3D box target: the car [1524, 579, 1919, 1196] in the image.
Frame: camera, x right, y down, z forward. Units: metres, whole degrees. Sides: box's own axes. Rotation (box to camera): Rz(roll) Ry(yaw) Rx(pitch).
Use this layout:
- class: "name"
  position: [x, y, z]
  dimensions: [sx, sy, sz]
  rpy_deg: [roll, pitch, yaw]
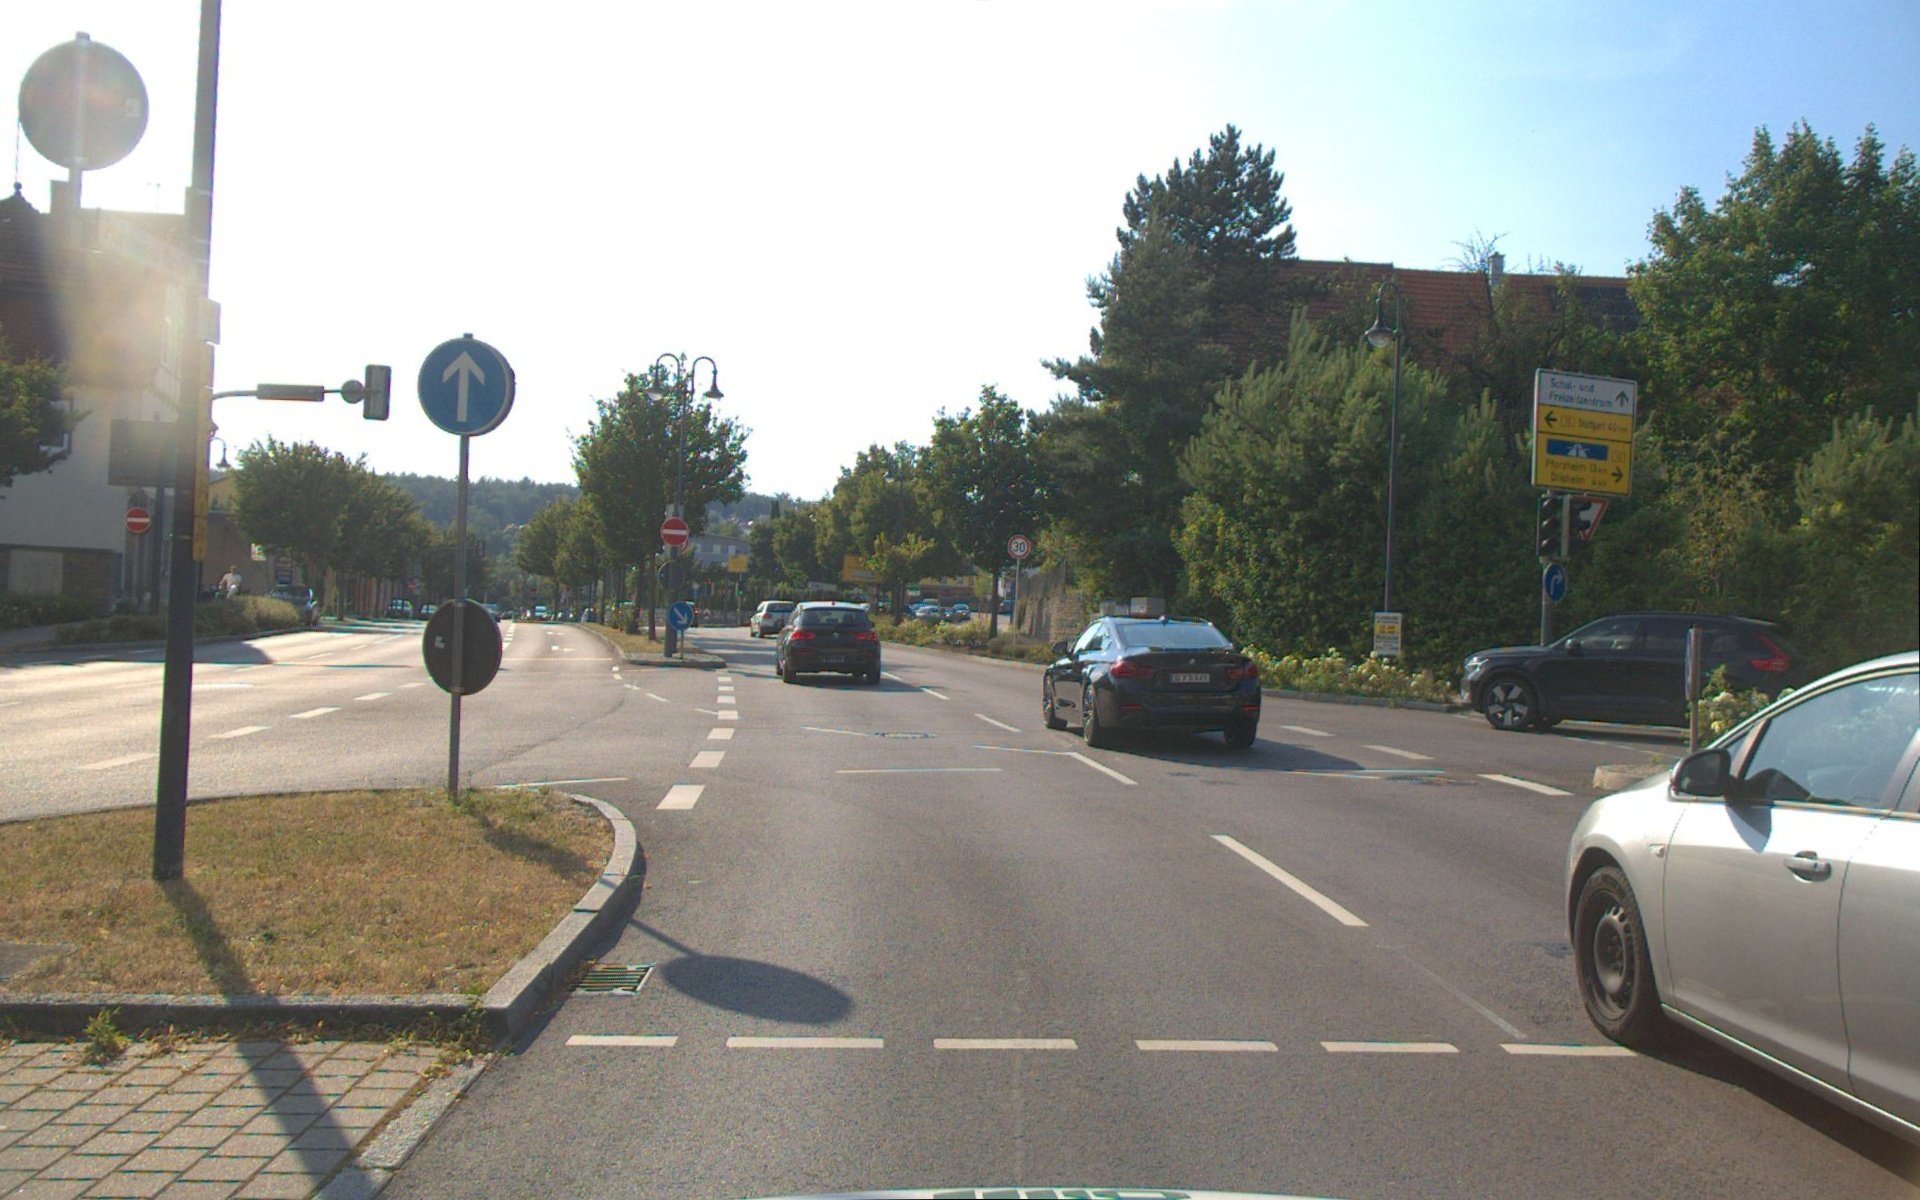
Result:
- class: "car"
  position: [3.201, 0.717, 4.604]
  dimensions: [1.686, 1.516, 4.305]
  rpy_deg: [1, 0, -1]

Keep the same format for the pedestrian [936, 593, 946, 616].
- class: "pedestrian"
  position: [-1.450, 0.317, 126.954]
  dimensions: [0.682, 1.732, 0.948]
  rpy_deg: [1, -1, -7]

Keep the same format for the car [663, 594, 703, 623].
- class: "car"
  position: [-18.413, 0.543, 109.735]
  dimensions: [2.180, 1.800, 4.436]
  rpy_deg: [1, 0, -15]

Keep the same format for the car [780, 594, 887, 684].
- class: "car"
  position: [-2.428, 0.678, 30.825]
  dimensions: [1.689, 1.516, 4.345]
  rpy_deg: [2, 0, -8]

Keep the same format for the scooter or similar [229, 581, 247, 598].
- class: "scooter or similar"
  position: [-25.686, -0.372, 58.847]
  dimensions: [0.436, 0.592, 1.039]
  rpy_deg: [1, 0, -16]

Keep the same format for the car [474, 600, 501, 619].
- class: "car"
  position: [-35.997, 0.742, 126.039]
  dimensions: [1.726, 1.385, 4.468]
  rpy_deg: [1, 0, -14]

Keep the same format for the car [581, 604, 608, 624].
- class: "car"
  position: [-33.947, 1.322, 153.613]
  dimensions: [2.180, 1.800, 4.436]
  rpy_deg: [1, 0, -15]

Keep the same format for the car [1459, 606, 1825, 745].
- class: "car"
  position: [8.986, 0.929, 21.936]
  dimensions: [4.187, 1.594, 1.785]
  rpy_deg: [1, 0, 37]

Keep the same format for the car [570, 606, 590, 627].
- class: "car"
  position: [-38.645, 1.648, 168.379]
  dimensions: [1.741, 2.049, 3.989]
  rpy_deg: [1, 0, -11]

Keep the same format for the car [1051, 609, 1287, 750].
- class: "car"
  position: [2.230, 0.823, 18.843]
  dimensions: [1.882, 1.388, 4.349]
  rpy_deg: [1, -1, -4]

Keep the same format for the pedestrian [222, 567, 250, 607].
- class: "pedestrian"
  position: [-26.173, -0.462, 59.775]
  dimensions: [0.799, 1.418, 0.704]
  rpy_deg: [1, 0, -16]

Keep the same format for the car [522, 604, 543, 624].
- class: "car"
  position: [-38.142, 1.276, 147.457]
  dimensions: [1.700, 1.708, 3.986]
  rpy_deg: [1, 0, -14]

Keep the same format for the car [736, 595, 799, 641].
- class: "car"
  position: [-7.852, 0.711, 67.134]
  dimensions: [1.893, 1.800, 4.436]
  rpy_deg: [1, 0, -15]
